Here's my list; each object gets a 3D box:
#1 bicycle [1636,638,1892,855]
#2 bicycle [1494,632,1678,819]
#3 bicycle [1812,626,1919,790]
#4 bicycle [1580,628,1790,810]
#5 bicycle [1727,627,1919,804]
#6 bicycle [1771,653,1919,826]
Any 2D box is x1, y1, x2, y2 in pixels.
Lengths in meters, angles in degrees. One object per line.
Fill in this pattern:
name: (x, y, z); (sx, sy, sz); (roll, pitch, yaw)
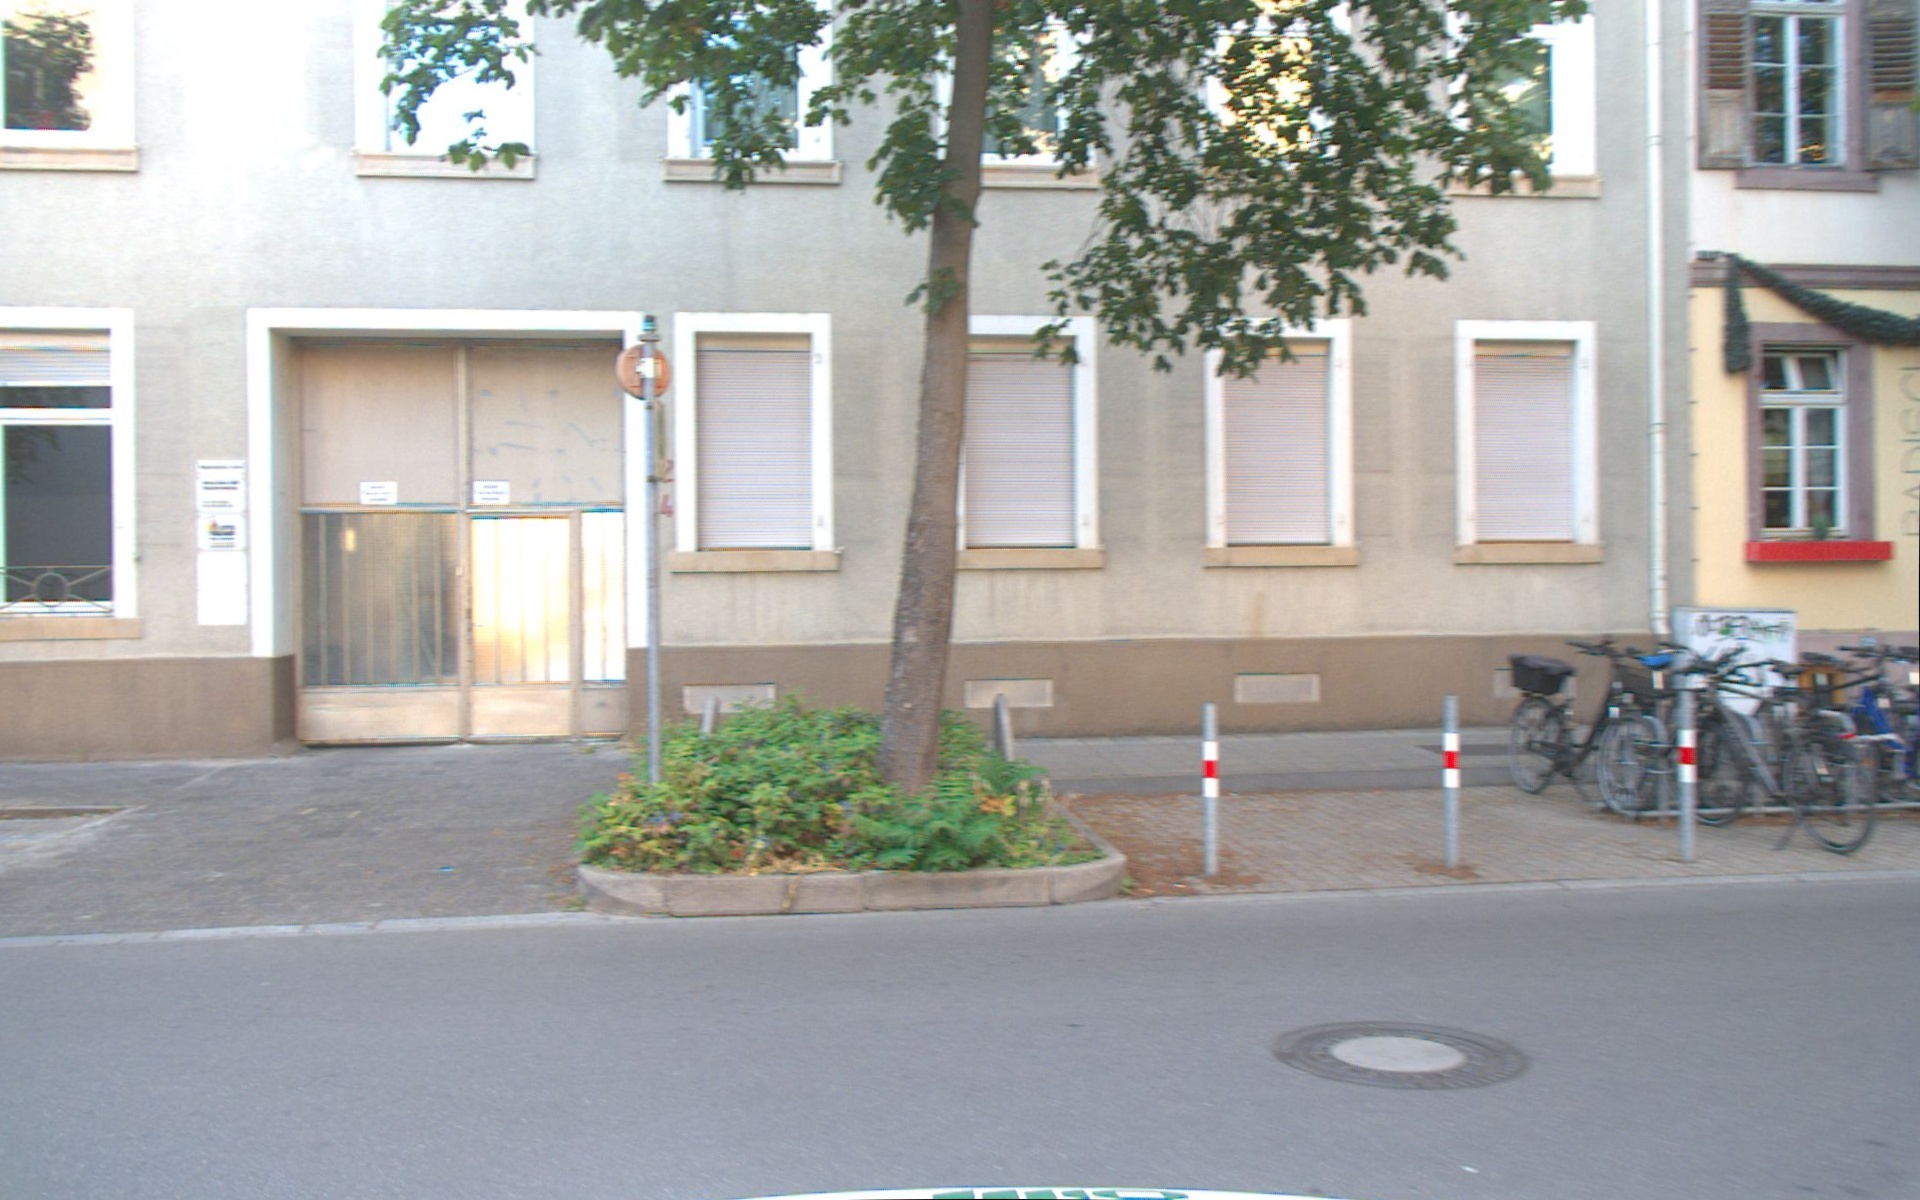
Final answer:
bicycle: (4.977, 0.853, 10.395); (0.436, 1.165, 2.040); (-1, 0, -6)
bicycle: (4.423, 0.838, 11.832); (0.436, 1.165, 2.041); (-1, 0, -3)
bicycle: (7.189, 0.800, 12.323); (0.412, 1.165, 2.039); (-1, 0, -7)
bicycle: (5.245, 0.814, 12.111); (0.412, 1.165, 2.039); (-1, 0, -7)
bicycle: (6.529, 0.809, 12.366); (0.412, 1.165, 2.039); (-1, 0, -7)
bicycle: (6.163, 0.901, 10.910); (0.412, 1.021, 2.039); (-1, 0, -7)
